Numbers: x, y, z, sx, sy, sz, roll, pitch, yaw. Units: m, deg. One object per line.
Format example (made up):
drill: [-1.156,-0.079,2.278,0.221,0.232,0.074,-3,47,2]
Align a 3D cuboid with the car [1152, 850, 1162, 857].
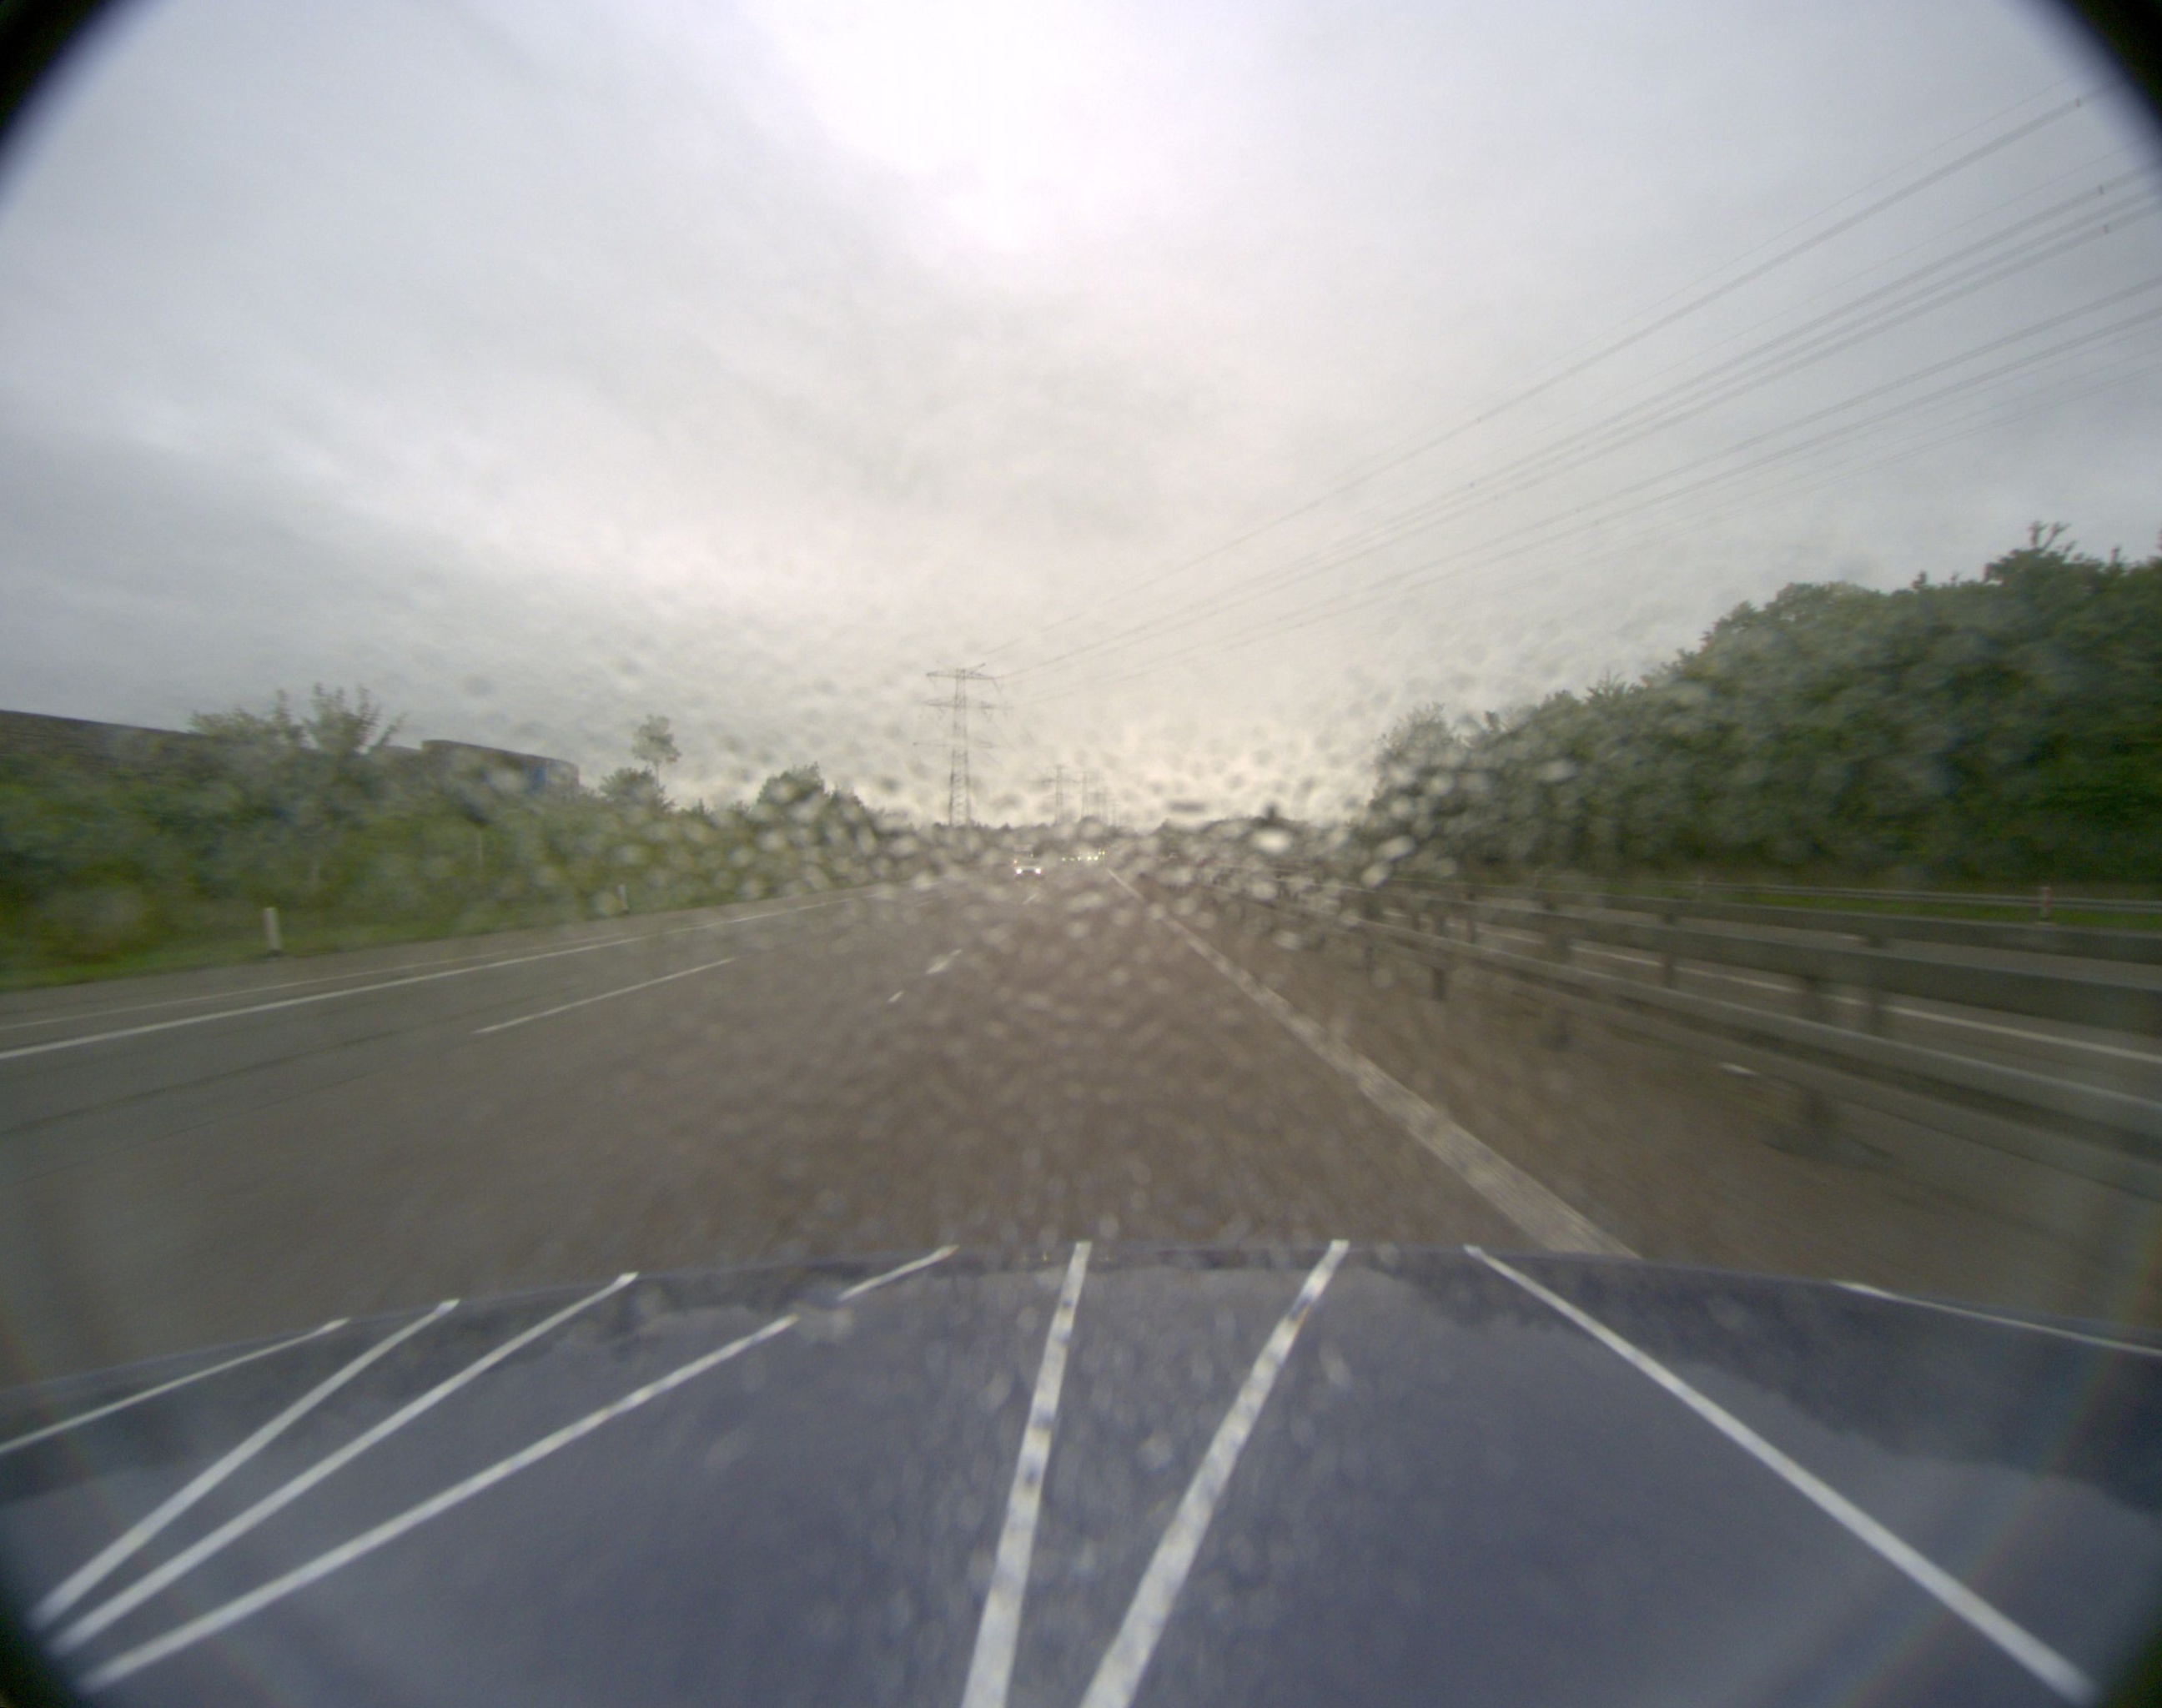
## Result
car: [17.264,-0.155,172.284,1.909,1.655,4.714,0,0,1]

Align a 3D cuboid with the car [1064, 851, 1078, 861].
car: [-1.531,0.317,121.162,1.998,1.418,4.000,-2,1,3]

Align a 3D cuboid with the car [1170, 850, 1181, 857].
car: [22.981,-0.107,184.556,1.954,1.808,4.916,0,0,0]

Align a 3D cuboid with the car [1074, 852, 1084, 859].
car: [-0.359,0.331,163.745,1.856,1.418,4.000,-2,1,3]

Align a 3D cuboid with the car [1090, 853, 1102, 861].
car: [2.795,0.543,141.070,1.998,1.418,4.000,-2,1,3]

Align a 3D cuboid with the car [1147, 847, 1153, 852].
car: [23.008,-1.536,252.676,1.833,1.490,3.815,0,0,1]

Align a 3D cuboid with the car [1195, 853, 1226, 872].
car: [10.936,0.690,64.299,1.826,1.503,4.790,0,0,1]

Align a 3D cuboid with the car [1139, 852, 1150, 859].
car: [12.711,0.276,152.628,1.761,1.453,4.762,1,0,1]

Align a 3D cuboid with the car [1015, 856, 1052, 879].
car: [-3.205,0.884,51.722,1.998,1.418,4.000,-2,1,3]

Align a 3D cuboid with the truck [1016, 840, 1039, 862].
truck: [-8.580,-0.574,122.414,2.649,3.325,6.931,-2,1,3]
